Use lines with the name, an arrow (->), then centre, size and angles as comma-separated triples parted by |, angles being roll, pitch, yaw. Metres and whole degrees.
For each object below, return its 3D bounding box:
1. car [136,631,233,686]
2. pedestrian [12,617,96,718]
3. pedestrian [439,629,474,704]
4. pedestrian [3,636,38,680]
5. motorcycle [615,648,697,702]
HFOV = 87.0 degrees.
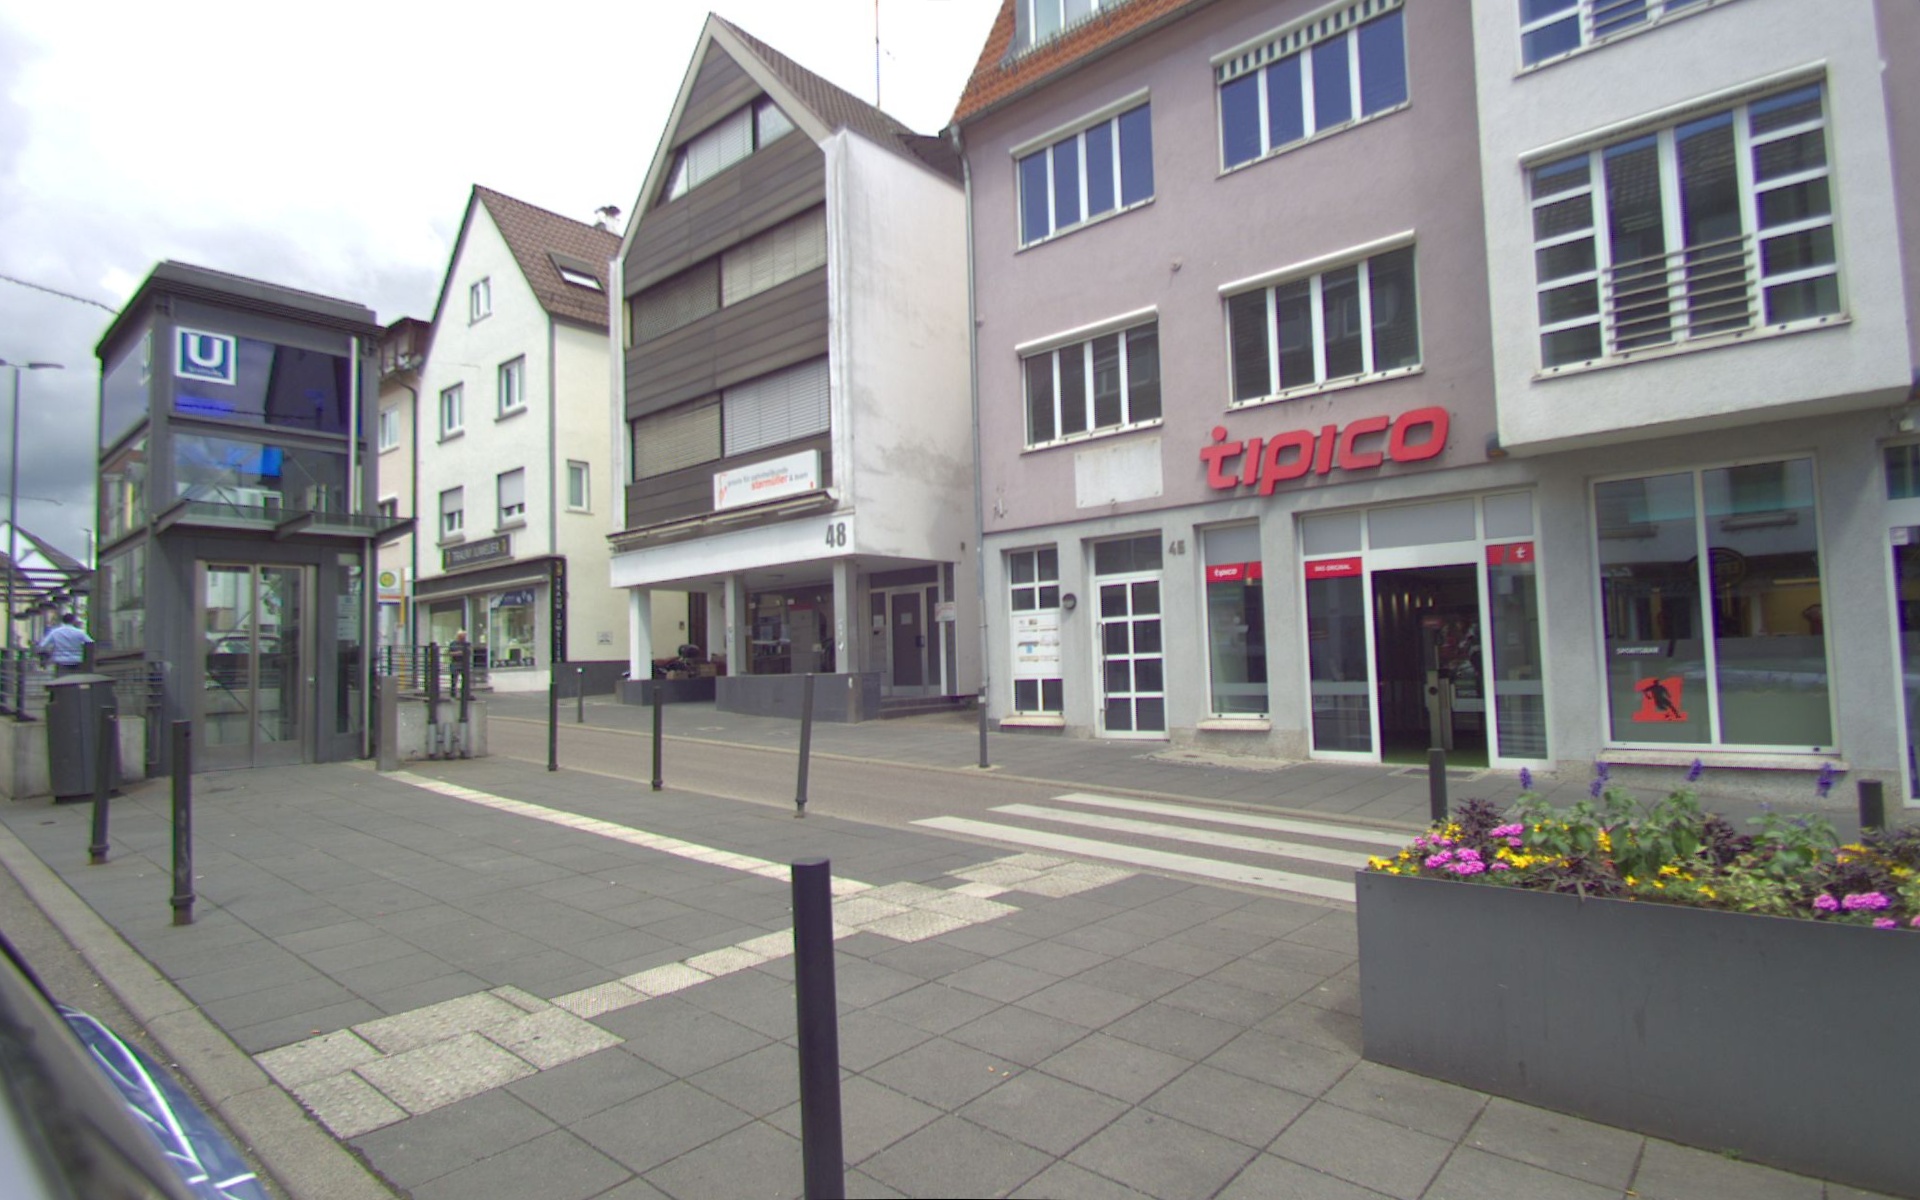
car -> -25.046, 1.828, 32.637 | 4.119, 1.583, 1.662 | -1, -1, 41
pedestrian -> -17.391, 1.261, 19.428 | 0.931, 1.855, 1.083 | -1, 0, 41
pedestrian -> -11.904, 1.566, 23.932 | 0.513, 1.729, 0.584 | -1, -1, 41
pedestrian -> -36.178, 2.218, 38.970 | 0.648, 1.642, 0.743 | -1, 0, 1
motorcycle -> -7.215, 1.752, 24.105 | 0.633, 1.149, 1.831 | -1, 0, 39
